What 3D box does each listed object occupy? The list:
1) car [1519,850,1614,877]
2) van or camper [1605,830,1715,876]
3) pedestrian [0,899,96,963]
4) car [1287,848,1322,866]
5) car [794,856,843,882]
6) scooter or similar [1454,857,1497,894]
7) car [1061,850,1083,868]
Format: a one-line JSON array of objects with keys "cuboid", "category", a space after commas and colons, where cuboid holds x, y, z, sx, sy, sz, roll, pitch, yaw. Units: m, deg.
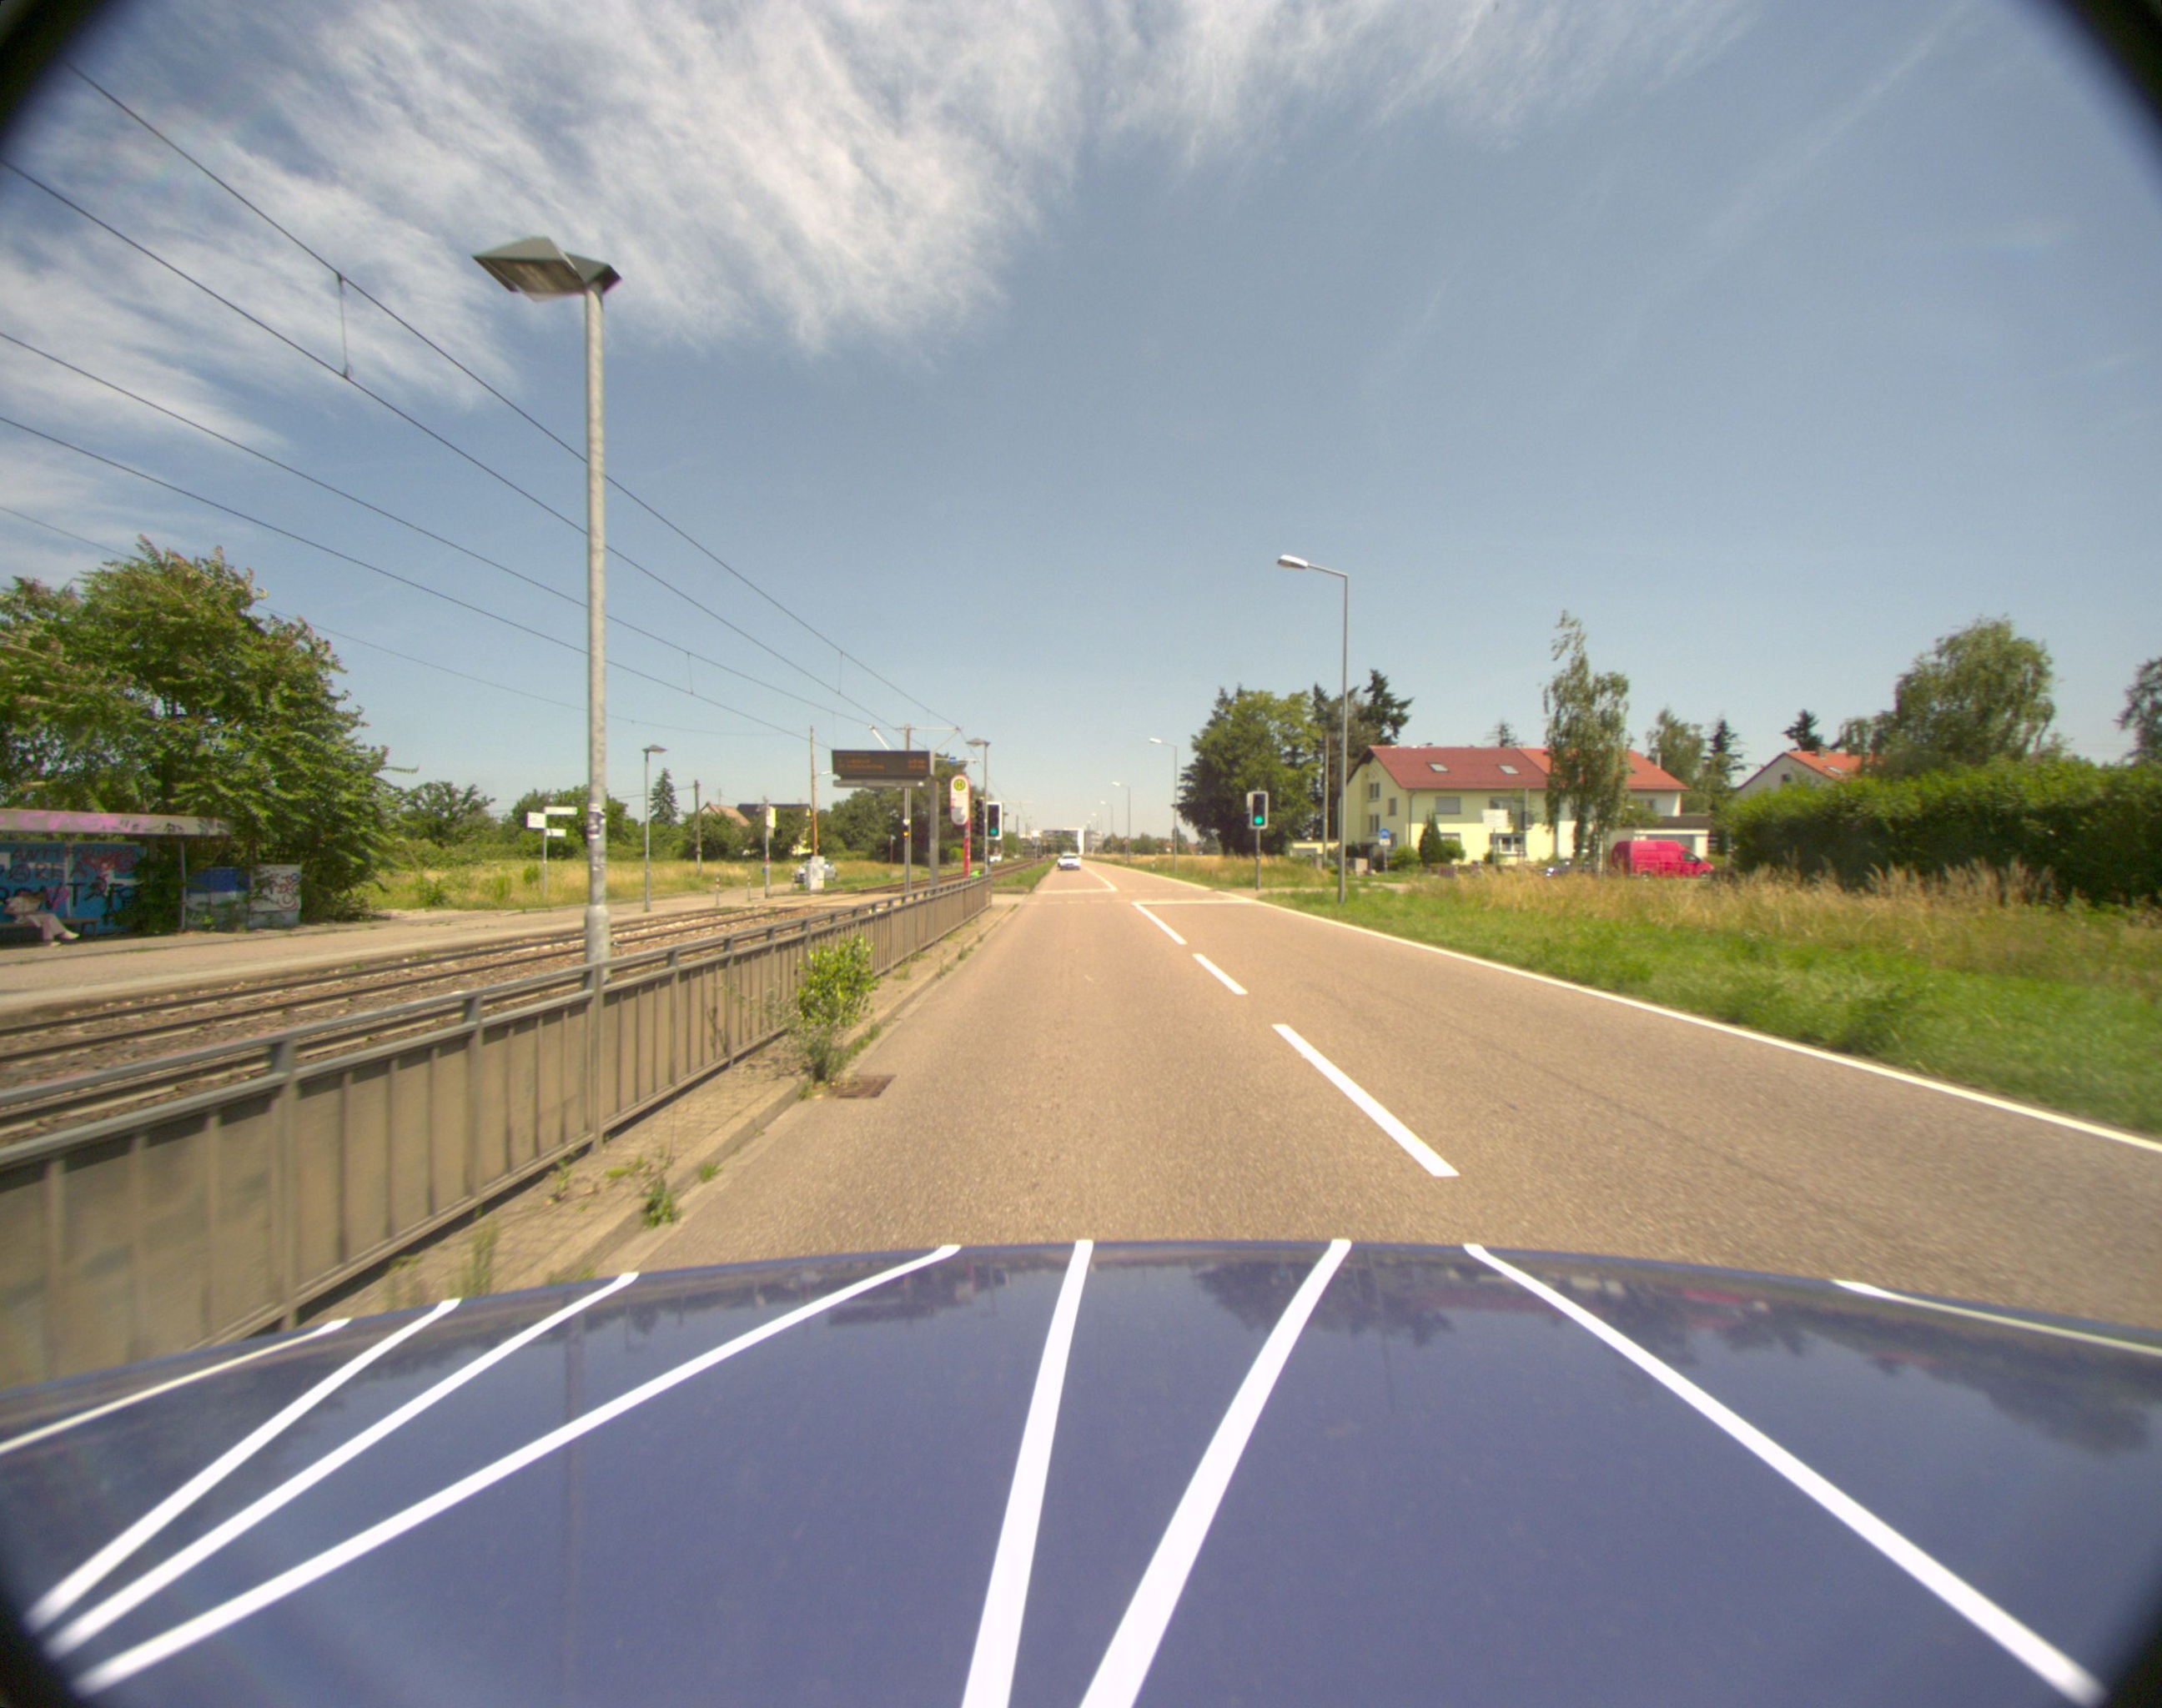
[{"cuboid": [26.581, 0.497, 41.672, 3.998, 1.346, 1.999, -2, 1, -5], "category": "car"}, {"cuboid": [32.161, -0.080, 42.257, 4.768, 2.374, 1.999, -2, 1, -5], "category": "van or camper"}, {"cuboid": [-18.849, 1.387, 13.876, 0.810, 1.081, 0.719, -1, 1, 9], "category": "pedestrian"}, {"cuboid": [19.448, 0.238, 66.402, 1.711, 1.483, 4.185, -2, 1, -1], "category": "car"}, {"cuboid": [-16.794, 0.912, 48.753, 1.717, 1.480, 4.000, -1, 1, 0], "category": "car"}, {"cuboid": [12.434, 0.663, 23.980, 1.021, 1.121, 0.648, 0, 1, -10], "category": "scooter or similar"}, {"cuboid": [-0.821, 0.420, 68.167, 1.856, 1.447, 3.705, -2, 1, -1], "category": "car"}]
